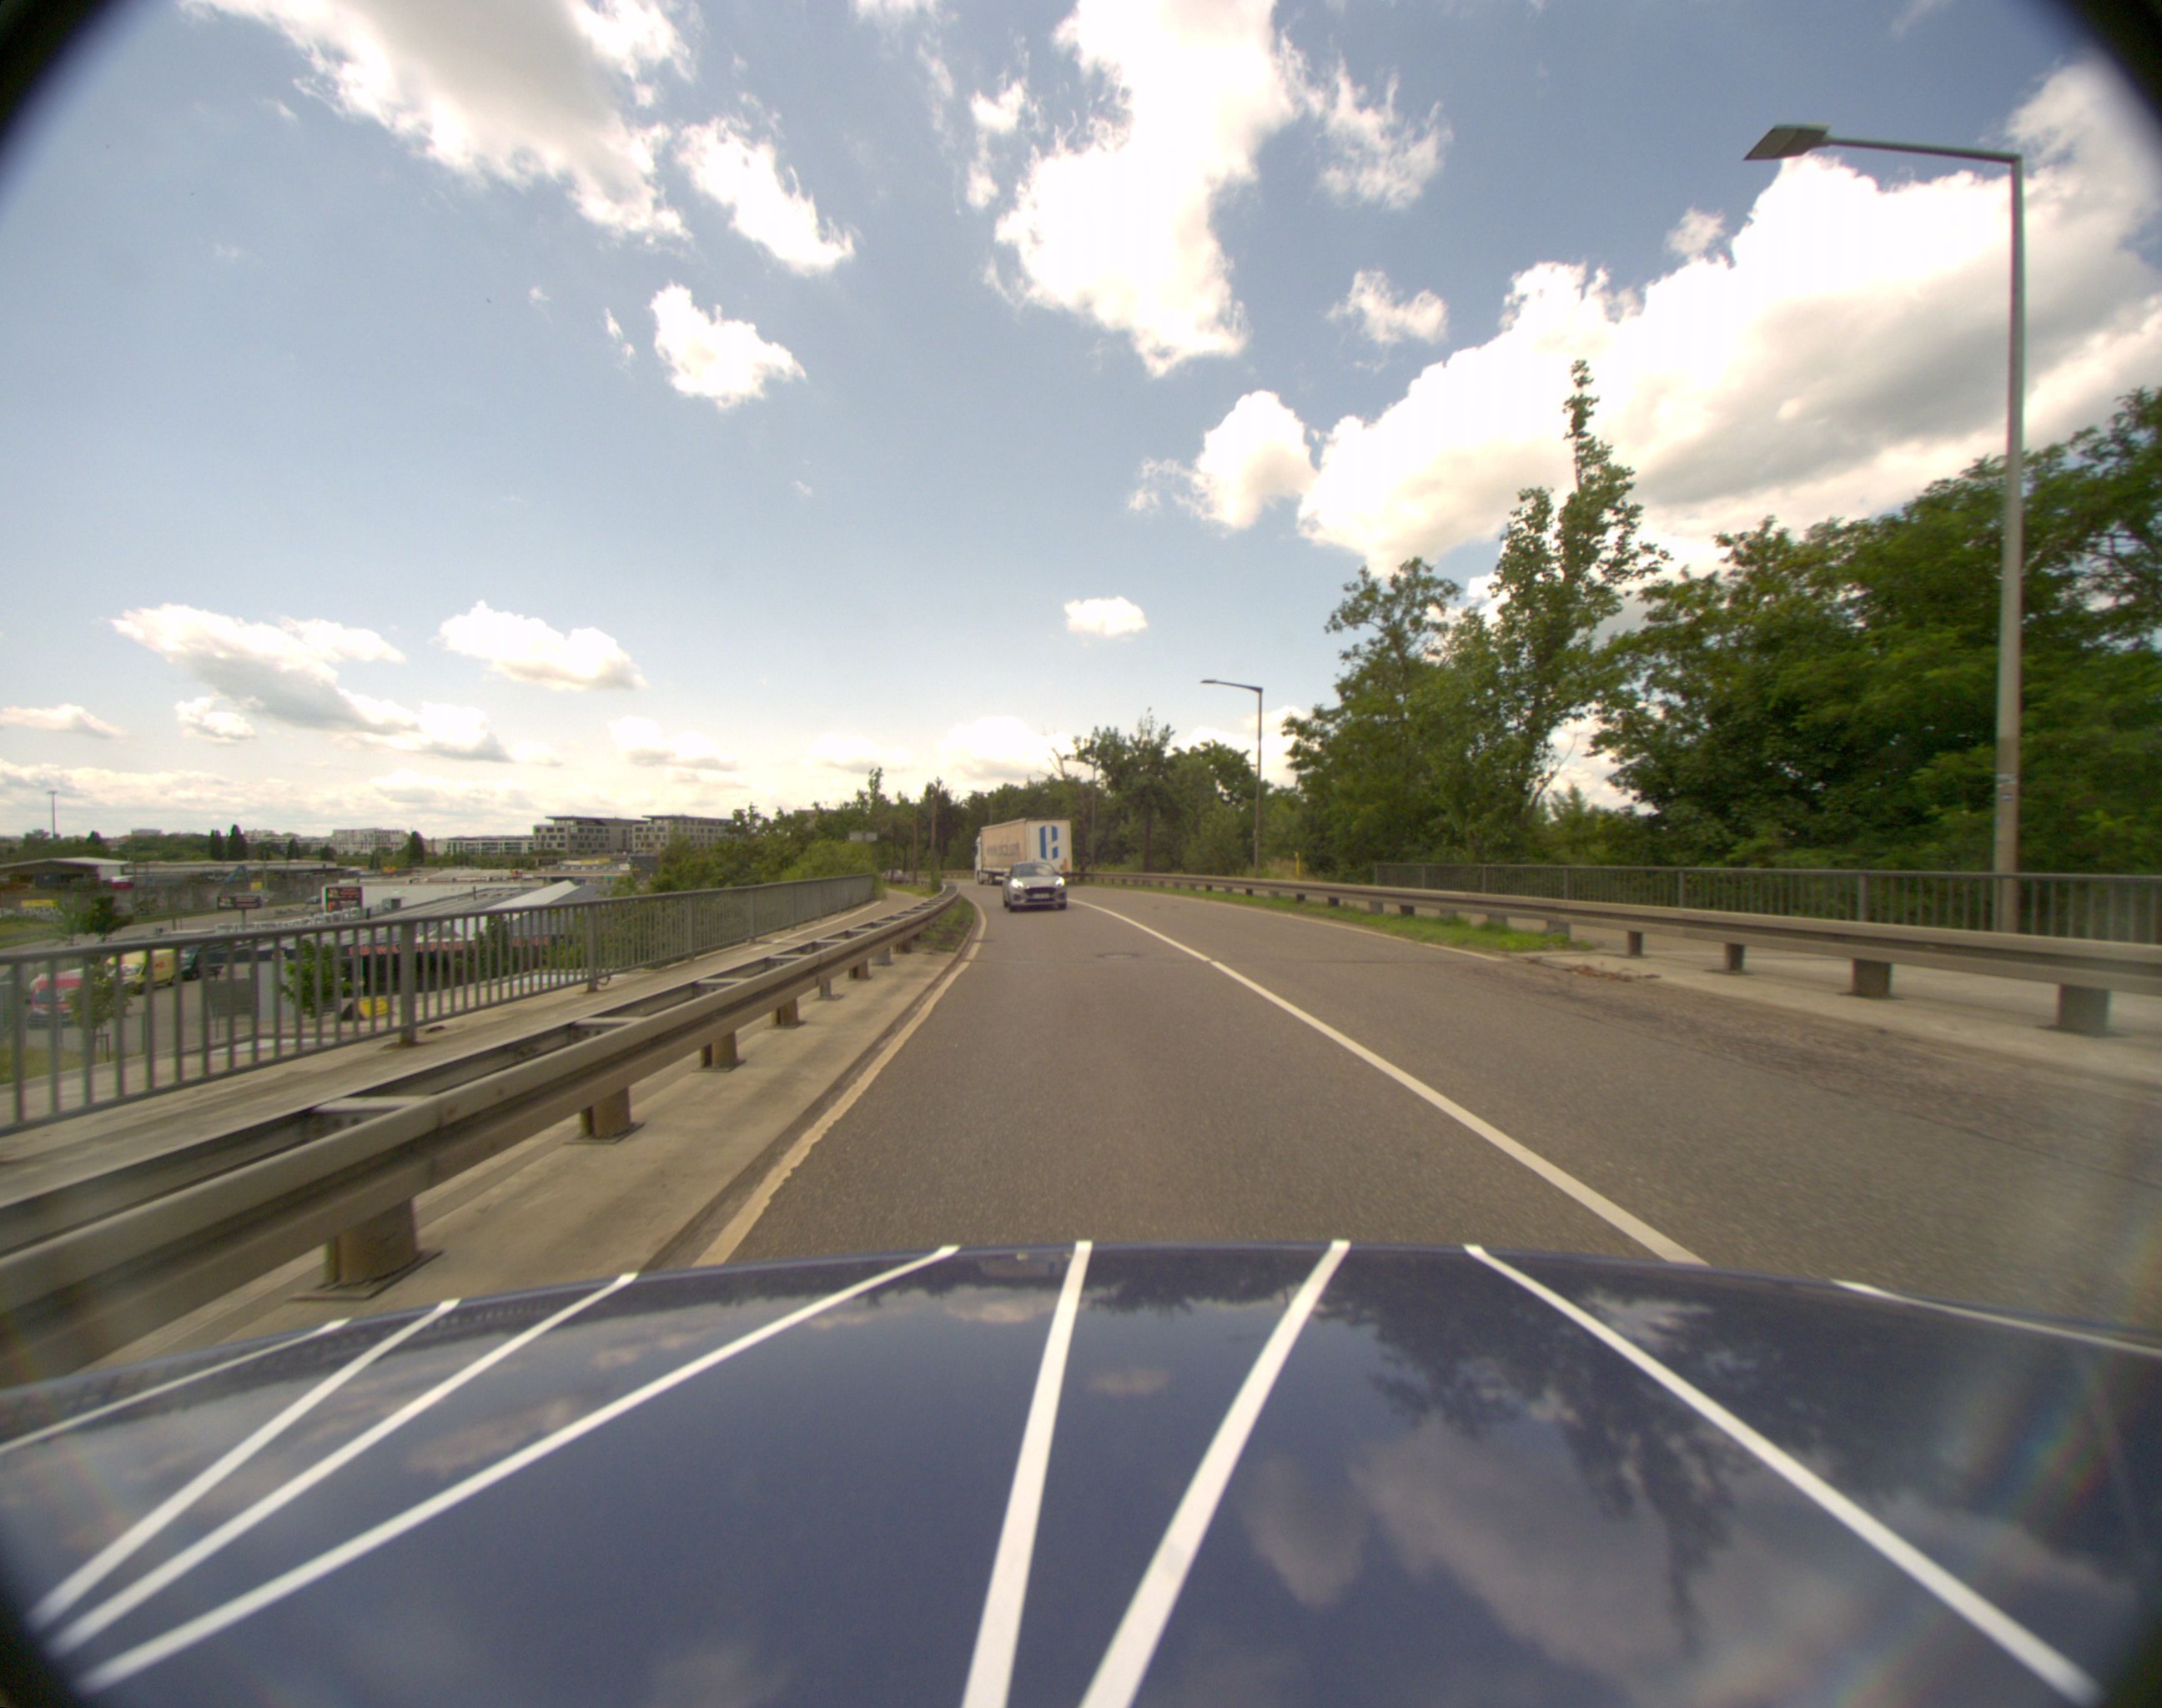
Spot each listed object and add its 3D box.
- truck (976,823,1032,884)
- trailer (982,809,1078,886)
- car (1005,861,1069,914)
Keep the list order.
[{"bbox_3d":[-5.726,-0.049,55.541,2.772,4.110,5.644,-3,1,-18],"label":"truck"},{"bbox_3d":[-3.694,-0.326,49.204,2.717,4.255,14.210,-3,0,-18],"label":"trailer"},{"bbox_3d":[-1.527,1.027,24.956,1.828,1.515,3.998,-2,-1,-6],"label":"car"}]
